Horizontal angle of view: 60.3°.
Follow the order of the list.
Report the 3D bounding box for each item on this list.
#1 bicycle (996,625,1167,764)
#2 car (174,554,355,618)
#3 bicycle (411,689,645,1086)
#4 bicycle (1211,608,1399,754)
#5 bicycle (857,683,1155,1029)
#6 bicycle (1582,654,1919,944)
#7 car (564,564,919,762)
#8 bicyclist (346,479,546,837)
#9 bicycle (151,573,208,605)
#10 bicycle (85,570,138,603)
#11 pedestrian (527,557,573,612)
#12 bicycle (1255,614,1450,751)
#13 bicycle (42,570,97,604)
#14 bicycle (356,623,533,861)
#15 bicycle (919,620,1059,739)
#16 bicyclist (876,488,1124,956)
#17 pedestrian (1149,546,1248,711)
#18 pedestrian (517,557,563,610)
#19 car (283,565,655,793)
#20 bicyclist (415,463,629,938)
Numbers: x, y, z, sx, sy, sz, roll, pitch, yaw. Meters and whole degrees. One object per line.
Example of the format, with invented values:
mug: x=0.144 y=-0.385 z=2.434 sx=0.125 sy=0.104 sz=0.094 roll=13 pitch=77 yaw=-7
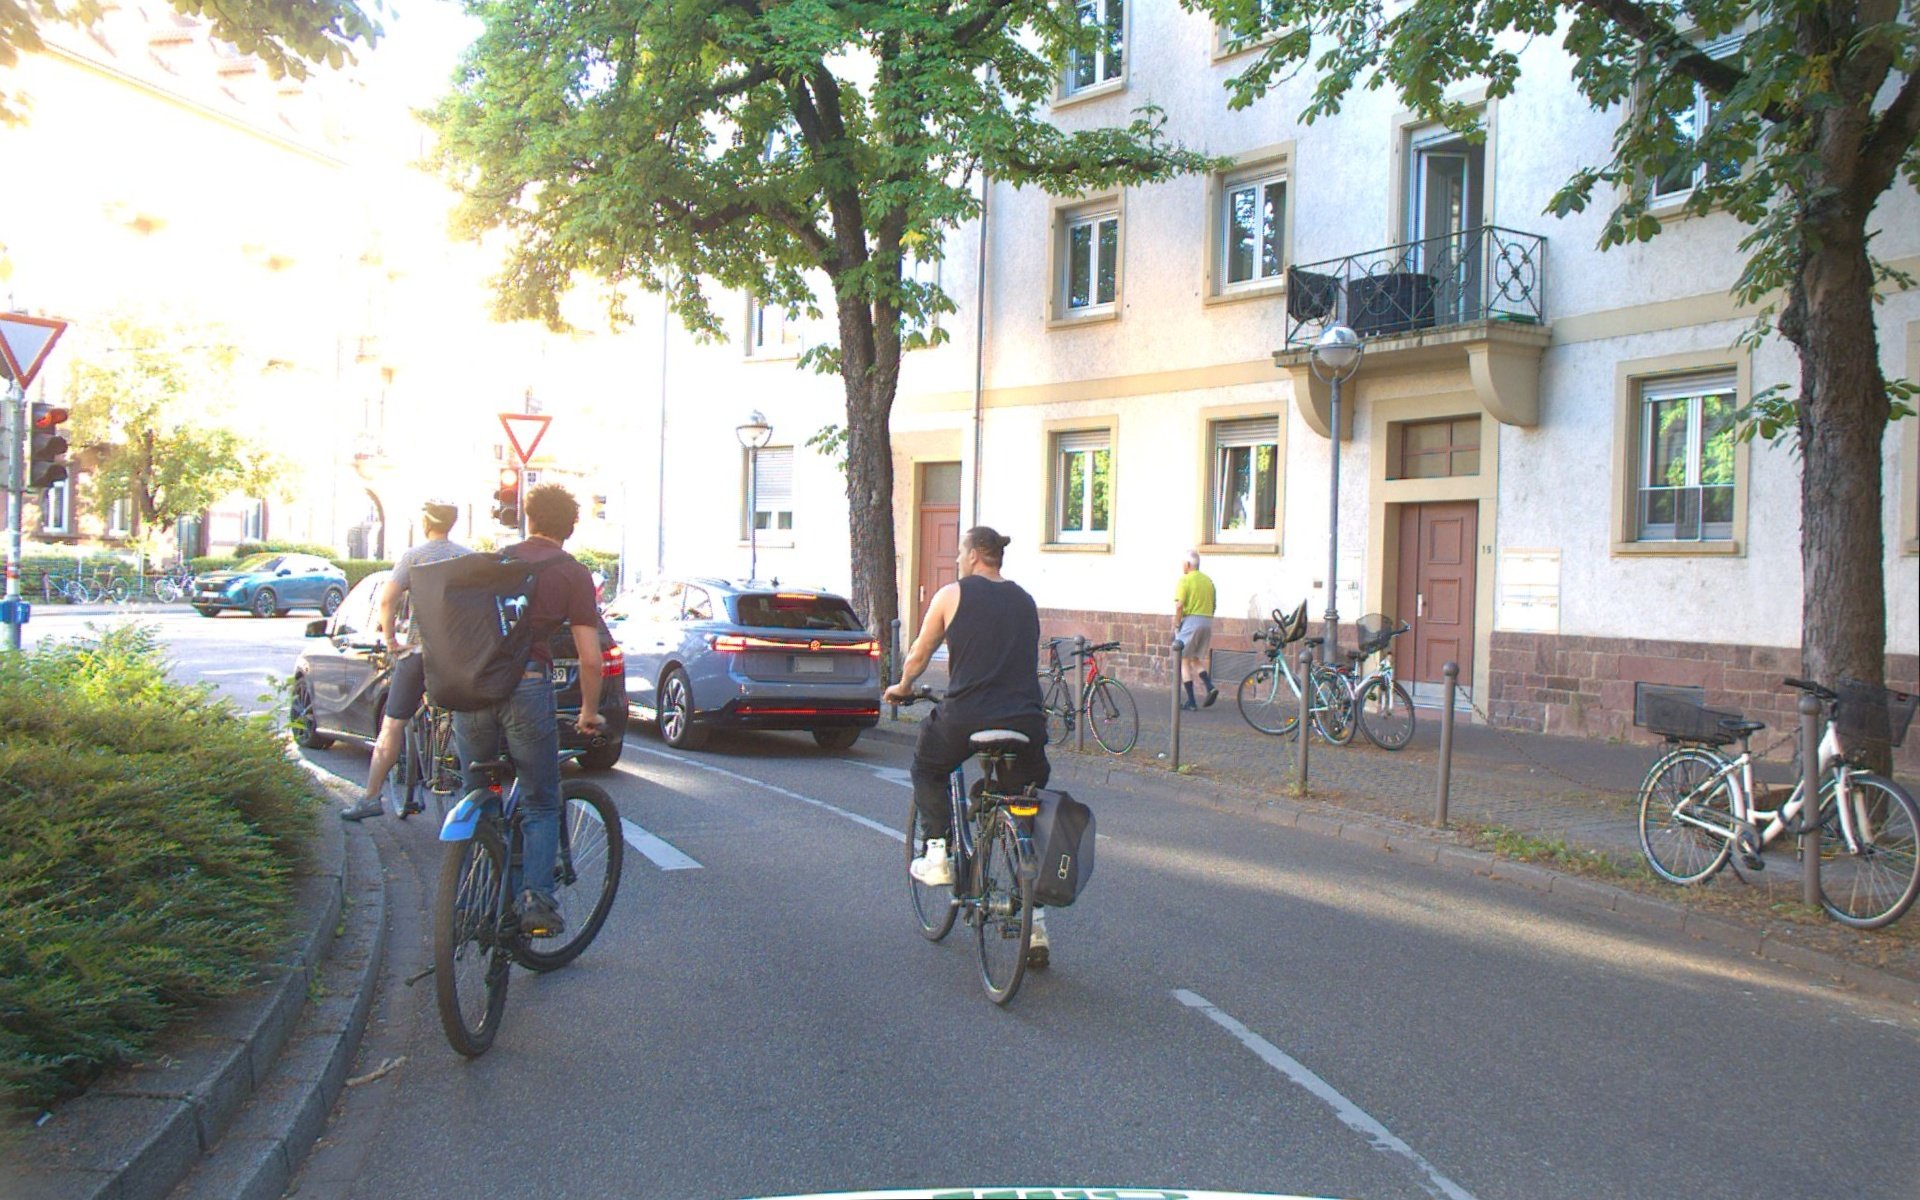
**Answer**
bicycle: x=1.060 y=0.810 z=14.894 sx=0.609 sy=1.076 sz=1.910 roll=-1 pitch=2 yaw=-28
car: x=-18.036 y=-0.343 z=43.122 sx=1.952 sy=1.522 sz=4.377 roll=2 pitch=1 yaw=18
bicycle: x=-1.542 y=0.909 z=5.973 sx=0.662 sy=1.072 sz=2.053 roll=1 pitch=-1 yaw=-14
bicycle: x=3.144 y=0.701 z=15.309 sx=0.488 sy=1.192 sz=2.099 roll=-2 pitch=2 yaw=-27
bicycle: x=0.102 y=0.917 z=6.655 sx=0.725 sy=1.030 sz=2.055 roll=0 pitch=1 yaw=-12
bicycle: x=4.027 y=0.901 z=8.227 sx=0.607 sy=1.132 sz=1.981 roll=-2 pitch=2 yaw=-20
car: x=-2.220 y=0.504 z=15.869 sx=1.874 sy=1.605 sz=3.956 roll=2 pitch=1 yaw=-33
bicyclist: x=-3.008 y=0.306 z=9.631 sx=0.842 sy=1.931 sz=1.128 roll=1 pitch=1 yaw=-31
bicycle: x=-22.280 y=-0.310 z=47.227 sx=0.441 sy=0.876 sz=1.443 roll=2 pitch=0 yaw=32
bicycle: x=-23.015 y=-0.361 z=44.880 sx=0.441 sy=0.876 sz=1.220 roll=2 pitch=0 yaw=32
pedestrian: x=-15.303 y=-0.567 z=61.774 sx=1.133 sy=1.996 sz=1.388 roll=2 pitch=0 yaw=13
bicycle: x=3.656 y=0.737 z=15.606 sx=0.575 sy=1.133 sz=2.099 roll=1 pitch=1 yaw=-26
bicycle: x=-23.589 y=-0.334 z=43.819 sx=0.441 sy=0.876 sz=1.220 roll=2 pitch=0 yaw=32
bicycle: x=-3.082 y=0.767 z=9.763 sx=0.591 sy=1.182 sz=2.022 roll=2 pitch=1 yaw=-29
bicycle: x=0.246 y=0.748 z=16.253 sx=0.513 sy=1.016 sz=2.176 roll=1 pitch=1 yaw=-23
bicyclist: x=0.132 y=0.448 z=6.578 sx=0.739 sy=1.711 sz=0.910 roll=2 pitch=0 yaw=-13
pedestrian: x=2.727 y=0.299 z=18.886 sx=0.990 sy=1.826 sz=0.649 roll=-1 pitch=1 yaw=-45
pedestrian: x=-16.020 y=-0.629 z=63.054 sx=1.133 sy=1.996 sz=1.388 roll=2 pitch=0 yaw=13
car: x=-4.128 y=0.505 z=13.499 sx=1.798 sy=1.570 sz=3.911 roll=-1 pitch=1 yaw=-35
bicyclist: x=-1.564 y=0.327 z=5.969 sx=0.660 sy=1.541 sz=1.065 roll=1 pitch=0 yaw=-14
